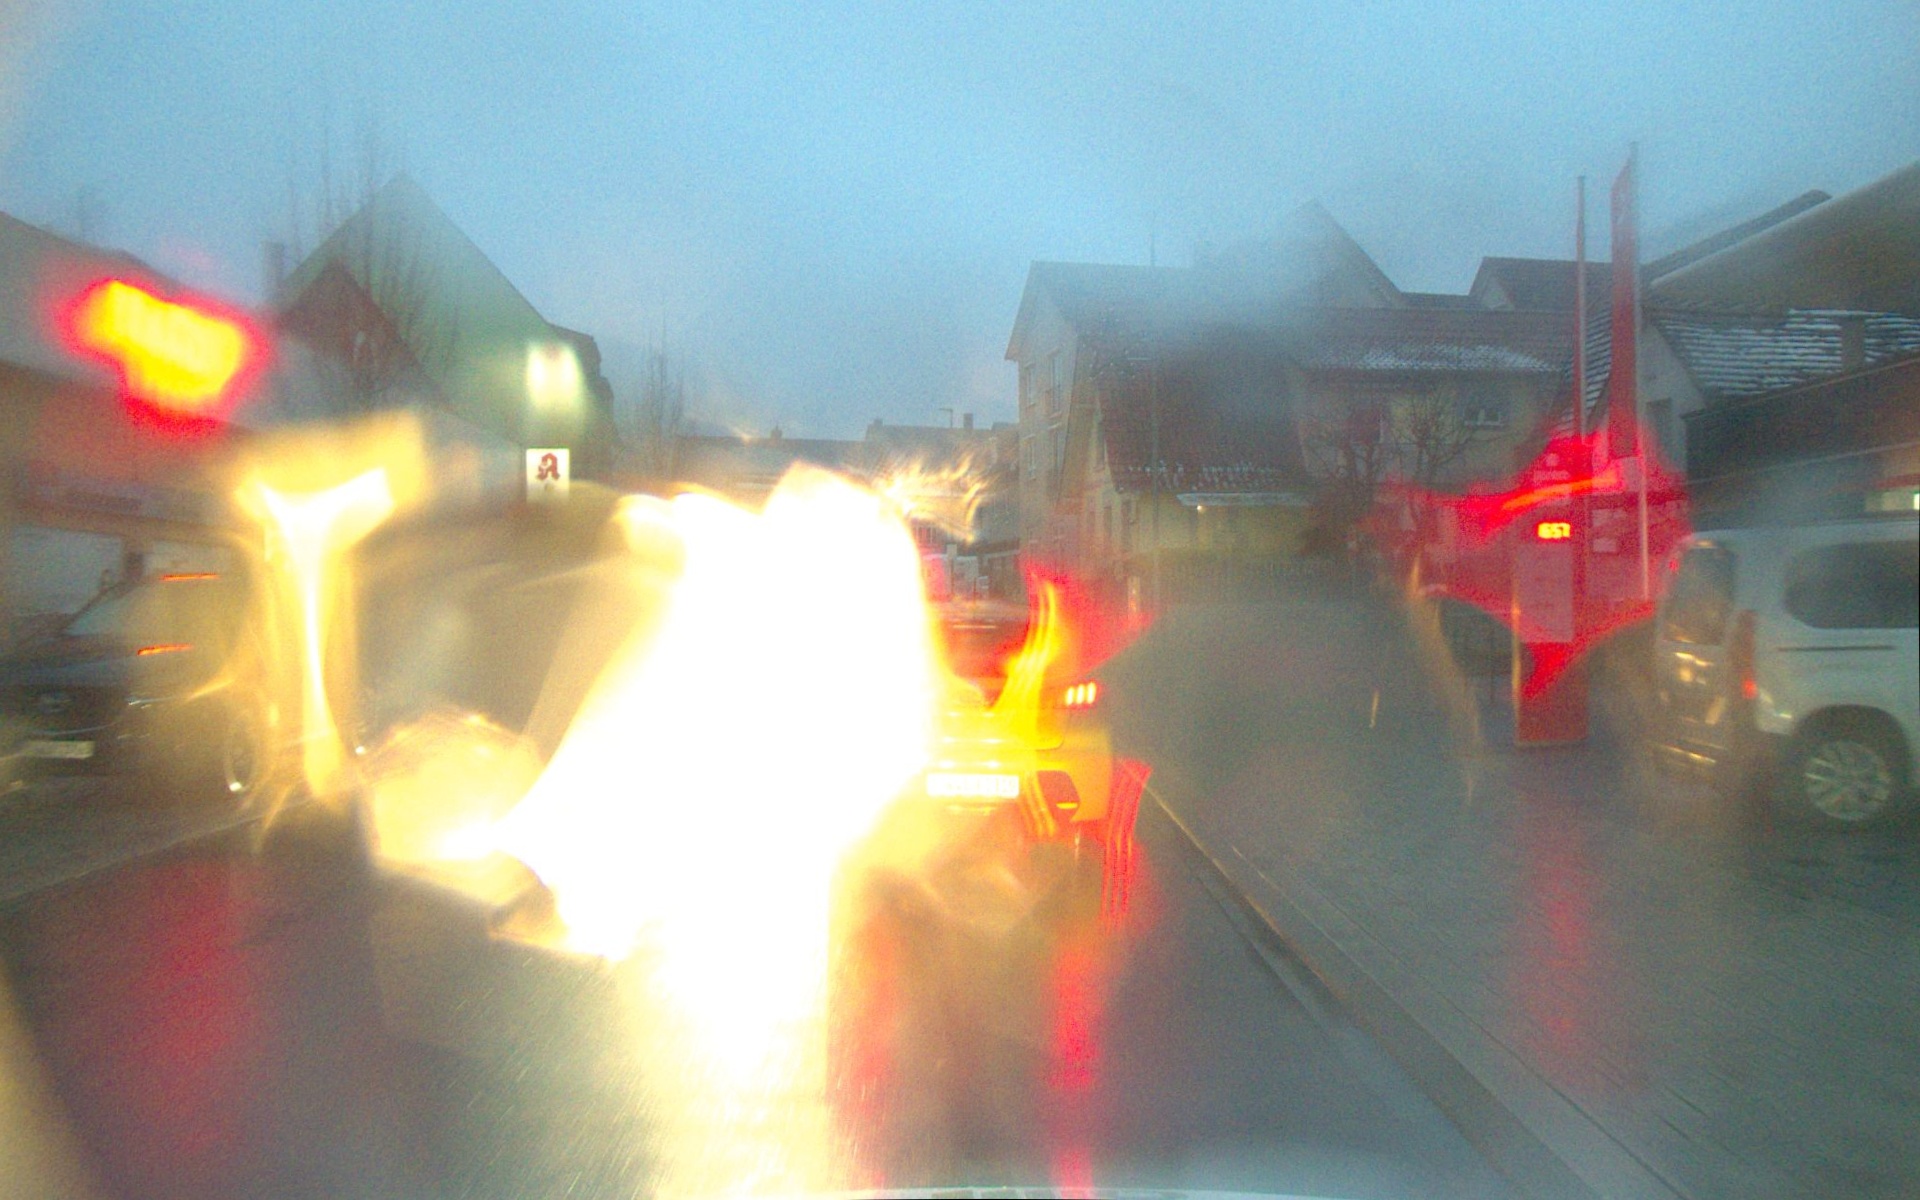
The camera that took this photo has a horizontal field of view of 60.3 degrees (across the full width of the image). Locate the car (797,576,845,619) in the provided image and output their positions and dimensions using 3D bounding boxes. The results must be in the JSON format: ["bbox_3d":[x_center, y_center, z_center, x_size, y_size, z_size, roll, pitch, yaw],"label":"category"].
[{"bbox_3d":[-6.470,-0.128,76.682,1.956,1.890,3.993,1,0,-8],"label":"car"}]

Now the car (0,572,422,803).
[{"bbox_3d":[-6.140,0.577,13.578,1.953,1.549,4.976,0,0,-2],"label":"car"}]

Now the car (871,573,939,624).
[{"bbox_3d":[-1.892,-0.053,55.963,1.955,1.616,3.994,1,0,-7],"label":"car"}]

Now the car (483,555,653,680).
[{"bbox_3d":[-6.204,0.224,26.765,2.046,1.823,5.017,1,1,-6],"label":"car"}]

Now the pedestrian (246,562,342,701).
[{"bbox_3d":[-9.342,0.431,23.243,0.920,1.909,1.012,0,0,0],"label":"pedestrian"}]

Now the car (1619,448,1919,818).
[{"bbox_3d":[6.503,0.137,10.323,4.004,2.085,2.002,-2,0,6],"label":"car"}]

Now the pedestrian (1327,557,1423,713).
[{"bbox_3d":[4.798,0.394,19.164,0.826,1.735,0.838,-2,0,-4],"label":"pedestrian"}]

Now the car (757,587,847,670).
[{"bbox_3d":[-3.671,0.617,39.011,1.913,1.573,4.414,-1,3,-3],"label":"car"}]

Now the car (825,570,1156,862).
[{"bbox_3d":[0.018,0.629,10.963,1.779,1.560,3.996,1,0,-5],"label":"car"}]

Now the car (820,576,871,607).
[{"bbox_3d":[-6.833,-0.522,98.437,1.963,1.795,4.328,-2,1,-18],"label":"car"}]

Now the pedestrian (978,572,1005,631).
[{"bbox_3d":[0.948,0.034,49.726,0.730,1.759,0.872,0,1,-5],"label":"pedestrian"}]

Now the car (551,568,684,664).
[{"bbox_3d":[-6.723,0.292,32.932,1.843,1.740,4.710,1,0,-3],"label":"car"}]

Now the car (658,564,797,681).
[{"bbox_3d":[-3.926,0.304,28.645,1.954,1.735,4.964,2,2,-4],"label":"car"}]

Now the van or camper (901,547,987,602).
[{"bbox_3d":[-1.030,-1.536,99.826,2.617,3.100,6.682,-4,2,-24],"label":"van or camper"}]

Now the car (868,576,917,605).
[{"bbox_3d":[-4.046,-0.553,98.919,1.962,1.639,4.155,-2,0,-16],"label":"car"}]

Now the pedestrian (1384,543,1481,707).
[{"bbox_3d":[5.193,0.264,18.219,0.690,1.735,0.913,-2,0,-7],"label":"pedestrian"}]

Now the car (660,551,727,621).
[{"bbox_3d":[-10.589,-0.507,65.864,2.439,2.605,6.747,1,-1,-9],"label":"car"}]
